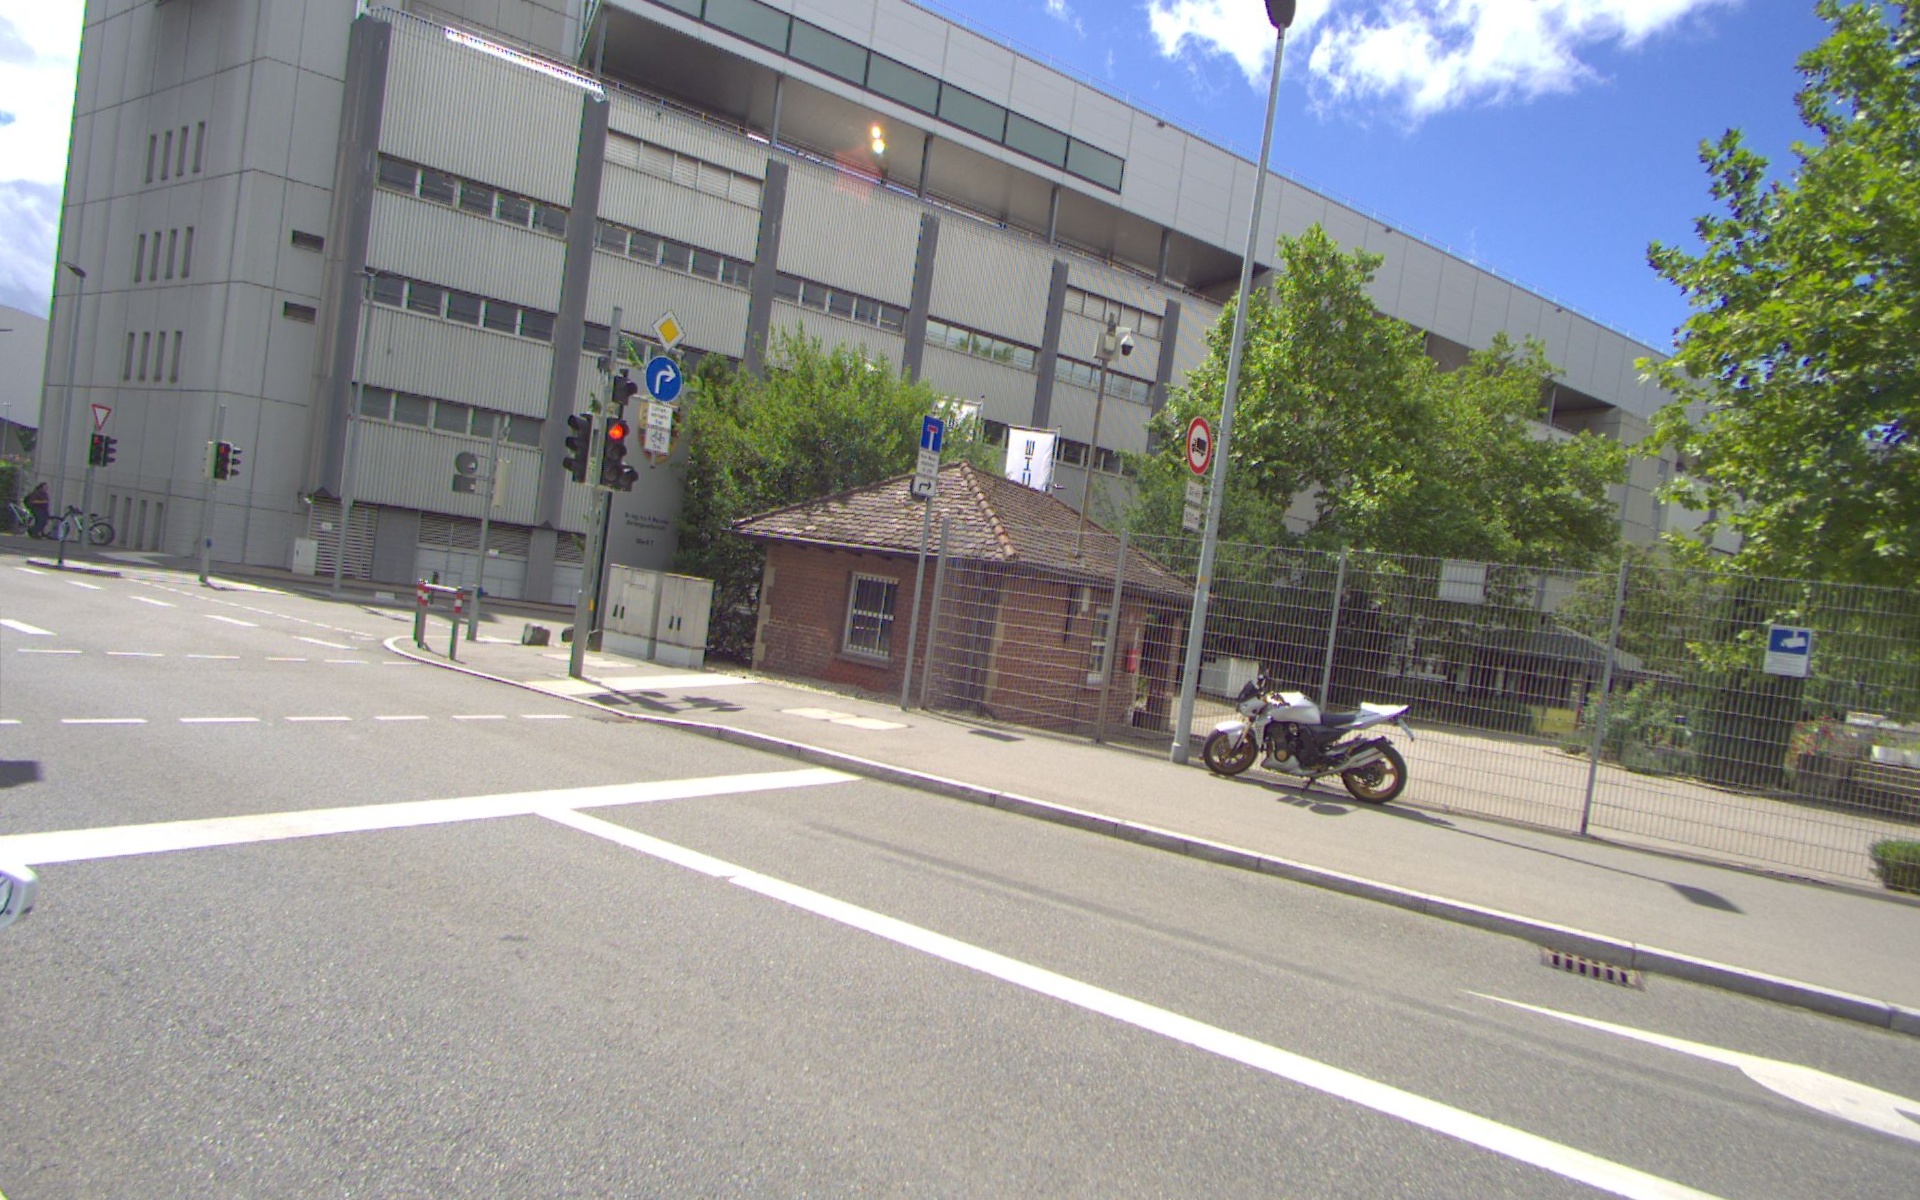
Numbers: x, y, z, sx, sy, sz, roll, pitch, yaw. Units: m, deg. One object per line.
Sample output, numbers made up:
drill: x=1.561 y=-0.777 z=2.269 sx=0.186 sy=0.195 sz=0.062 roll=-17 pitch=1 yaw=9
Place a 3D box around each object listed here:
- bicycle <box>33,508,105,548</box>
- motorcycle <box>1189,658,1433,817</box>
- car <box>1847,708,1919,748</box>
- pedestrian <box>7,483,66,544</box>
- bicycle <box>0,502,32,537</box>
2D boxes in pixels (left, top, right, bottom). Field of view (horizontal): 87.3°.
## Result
bicycle: x=-27.246 y=-2.202 z=30.757 sx=1.892 sy=0.948 sz=0.399 roll=7 pitch=0 yaw=6
motorcycle: x=3.462 y=1.306 z=9.988 sx=2.110 sy=1.173 sz=0.693 roll=7 pitch=2 yaw=27
car: x=53.058 y=7.286 z=56.789 sx=1.979 sy=1.803 sz=3.971 roll=8 pitch=-2 yaw=-30
pedestrian: x=-27.682 y=-2.563 z=30.172 sx=0.837 sy=1.644 sz=0.953 roll=7 pitch=0 yaw=-17
bicycle: x=-29.670 y=-2.537 z=31.072 sx=1.891 sy=0.948 sz=0.399 roll=7 pitch=0 yaw=13
